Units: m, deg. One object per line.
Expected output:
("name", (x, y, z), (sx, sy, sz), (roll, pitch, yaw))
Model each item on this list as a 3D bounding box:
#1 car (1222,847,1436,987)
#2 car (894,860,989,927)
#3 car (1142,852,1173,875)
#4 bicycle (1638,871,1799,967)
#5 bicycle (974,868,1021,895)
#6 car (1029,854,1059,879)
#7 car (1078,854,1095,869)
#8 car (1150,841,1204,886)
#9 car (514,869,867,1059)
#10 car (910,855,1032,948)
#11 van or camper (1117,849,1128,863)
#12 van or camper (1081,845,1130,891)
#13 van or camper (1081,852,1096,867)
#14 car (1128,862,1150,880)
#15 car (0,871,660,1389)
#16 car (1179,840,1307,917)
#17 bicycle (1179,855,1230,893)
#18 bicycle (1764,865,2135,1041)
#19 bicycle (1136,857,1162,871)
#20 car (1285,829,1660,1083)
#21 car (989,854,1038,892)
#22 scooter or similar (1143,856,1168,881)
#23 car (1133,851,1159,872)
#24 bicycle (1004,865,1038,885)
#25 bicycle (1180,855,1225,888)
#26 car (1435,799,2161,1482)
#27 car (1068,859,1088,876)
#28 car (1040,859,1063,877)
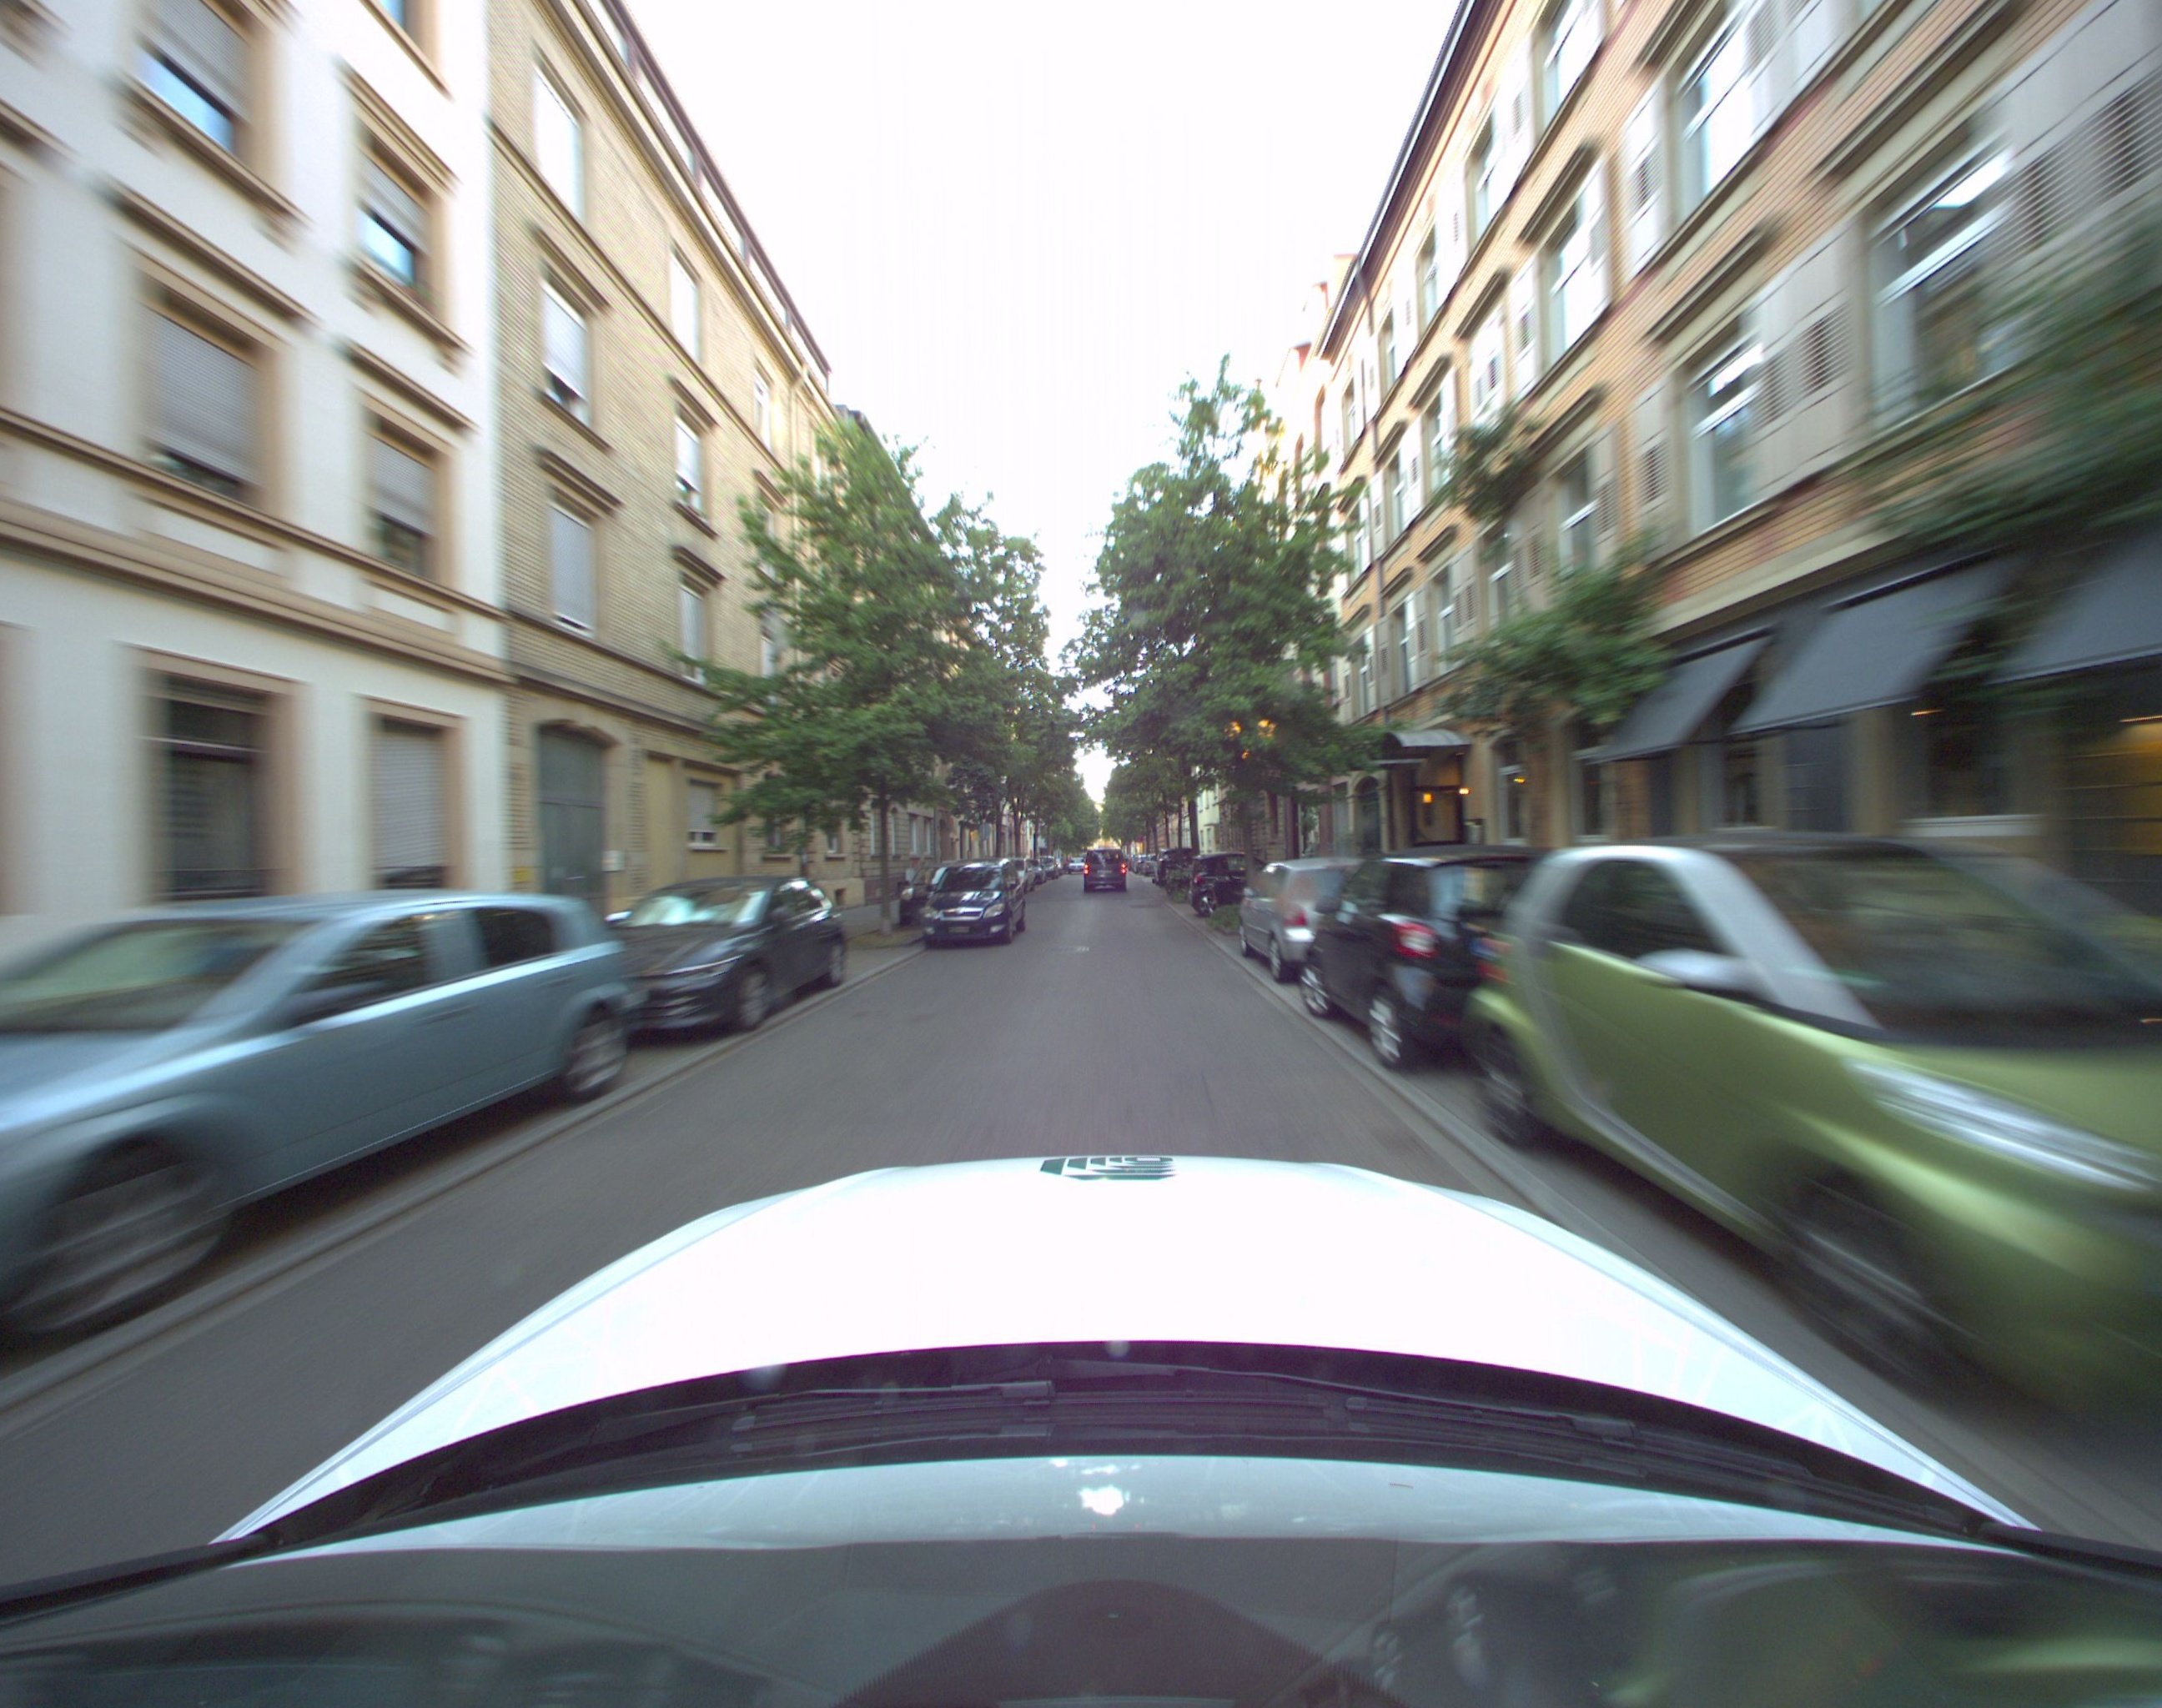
("car", (3.118, 0.698, 11.124), (1.727, 1.491, 4.105), (-3, 0, 2))
("car", (-3.411, 0.912, 20.582), (1.685, 1.501, 3.712), (-1, 0, 1))
("car", (5.196, 0.637, 56.041), (1.752, 1.463, 4.309), (-3, 0, 1))
("bicycle", (6.556, 0.635, 8.473), (0.444, 0.859, 1.548), (-2, 0, 1))
("bicycle", (-3.500, 1.139, 34.050), (1.869, 1.060, 0.593), (0, -1, -18))
("car", (-2.494, 0.820, 55.992), (1.699, 1.580, 4.081), (-1, 0, 3))
("car", (0.607, 0.809, 89.139), (1.658, 1.563, 3.998), (-3, 0, -1))
("car", (4.455, 0.397, 38.344), (2.006, 1.833, 4.813), (-4, 0, 2))
("car", (-3.863, 0.969, 9.016), (1.761, 1.462, 4.259), (-2, 0, 1))
("car", (-2.074, 0.849, 16.554), (1.717, 1.573, 4.221), (-2, 0, 2))
("van or camper", (8.502, 0.411, 167.177), (1.987, 2.599, 5.424), (-2, 0, 1))
("van or camper", (1.180, 0.611, 37.052), (2.026, 1.897, 4.275), (-2, 0, 4))
("van or camper", (0.975, 0.694, 104.404), (1.870, 1.843, 4.752), (-3, 0, 0))
("car", (5.315, 1.542, 75.153), (1.760, 1.415, 4.476), (-4, 0, 2))
("car", (-4.106, 0.902, 4.130), (1.677, 1.510, 4.115), (-2, 0, 1))
("car", (3.999, 0.601, 20.503), (2.787, 1.599, 1.801), (-5, 0, 2))
("bicycle", (4.662, 0.749, 30.896), (1.755, 1.294, 0.802), (-4, 0, 1))
("bicycle", (6.267, 0.634, 6.091), (0.683, 1.036, 1.952), (-5, 0, 3))
("bicycle", (5.189, 0.744, 62.059), (1.922, 0.982, 0.634), (-2, 0, -20))
("car", (2.885, 0.648, 6.751), (1.586, 1.560, 3.122), (-2, 0, 0))
("car", (-3.058, 0.815, 37.451), (1.669, 1.607, 3.865), (-1, 0, 4))
("scooter or similar", (3.895, 0.750, 42.586), (0.667, 1.190, 1.123), (-5, -1, 41))
("car", (5.140, 0.582, 64.962), (1.711, 1.476, 4.367), (-4, 0, 0))
("bicycle", (-3.084, 1.095, 42.111), (1.677, 1.003, 0.430), (1, 0, 3))
("bicycle", (4.719, 0.691, 31.712), (1.688, 1.198, 0.583), (-2, 0, 4))
("car", (2.884, 0.633, 3.361), (1.460, 1.552, 2.916), (-3, 0, -2))
("car", (-0.214, 1.185, 71.826), (1.574, 1.420, 3.754), (-3, 0, 1))
("car", (-2.386, 1.125, 66.458), (1.581, 1.437, 3.567), (-1, 0, 1))
